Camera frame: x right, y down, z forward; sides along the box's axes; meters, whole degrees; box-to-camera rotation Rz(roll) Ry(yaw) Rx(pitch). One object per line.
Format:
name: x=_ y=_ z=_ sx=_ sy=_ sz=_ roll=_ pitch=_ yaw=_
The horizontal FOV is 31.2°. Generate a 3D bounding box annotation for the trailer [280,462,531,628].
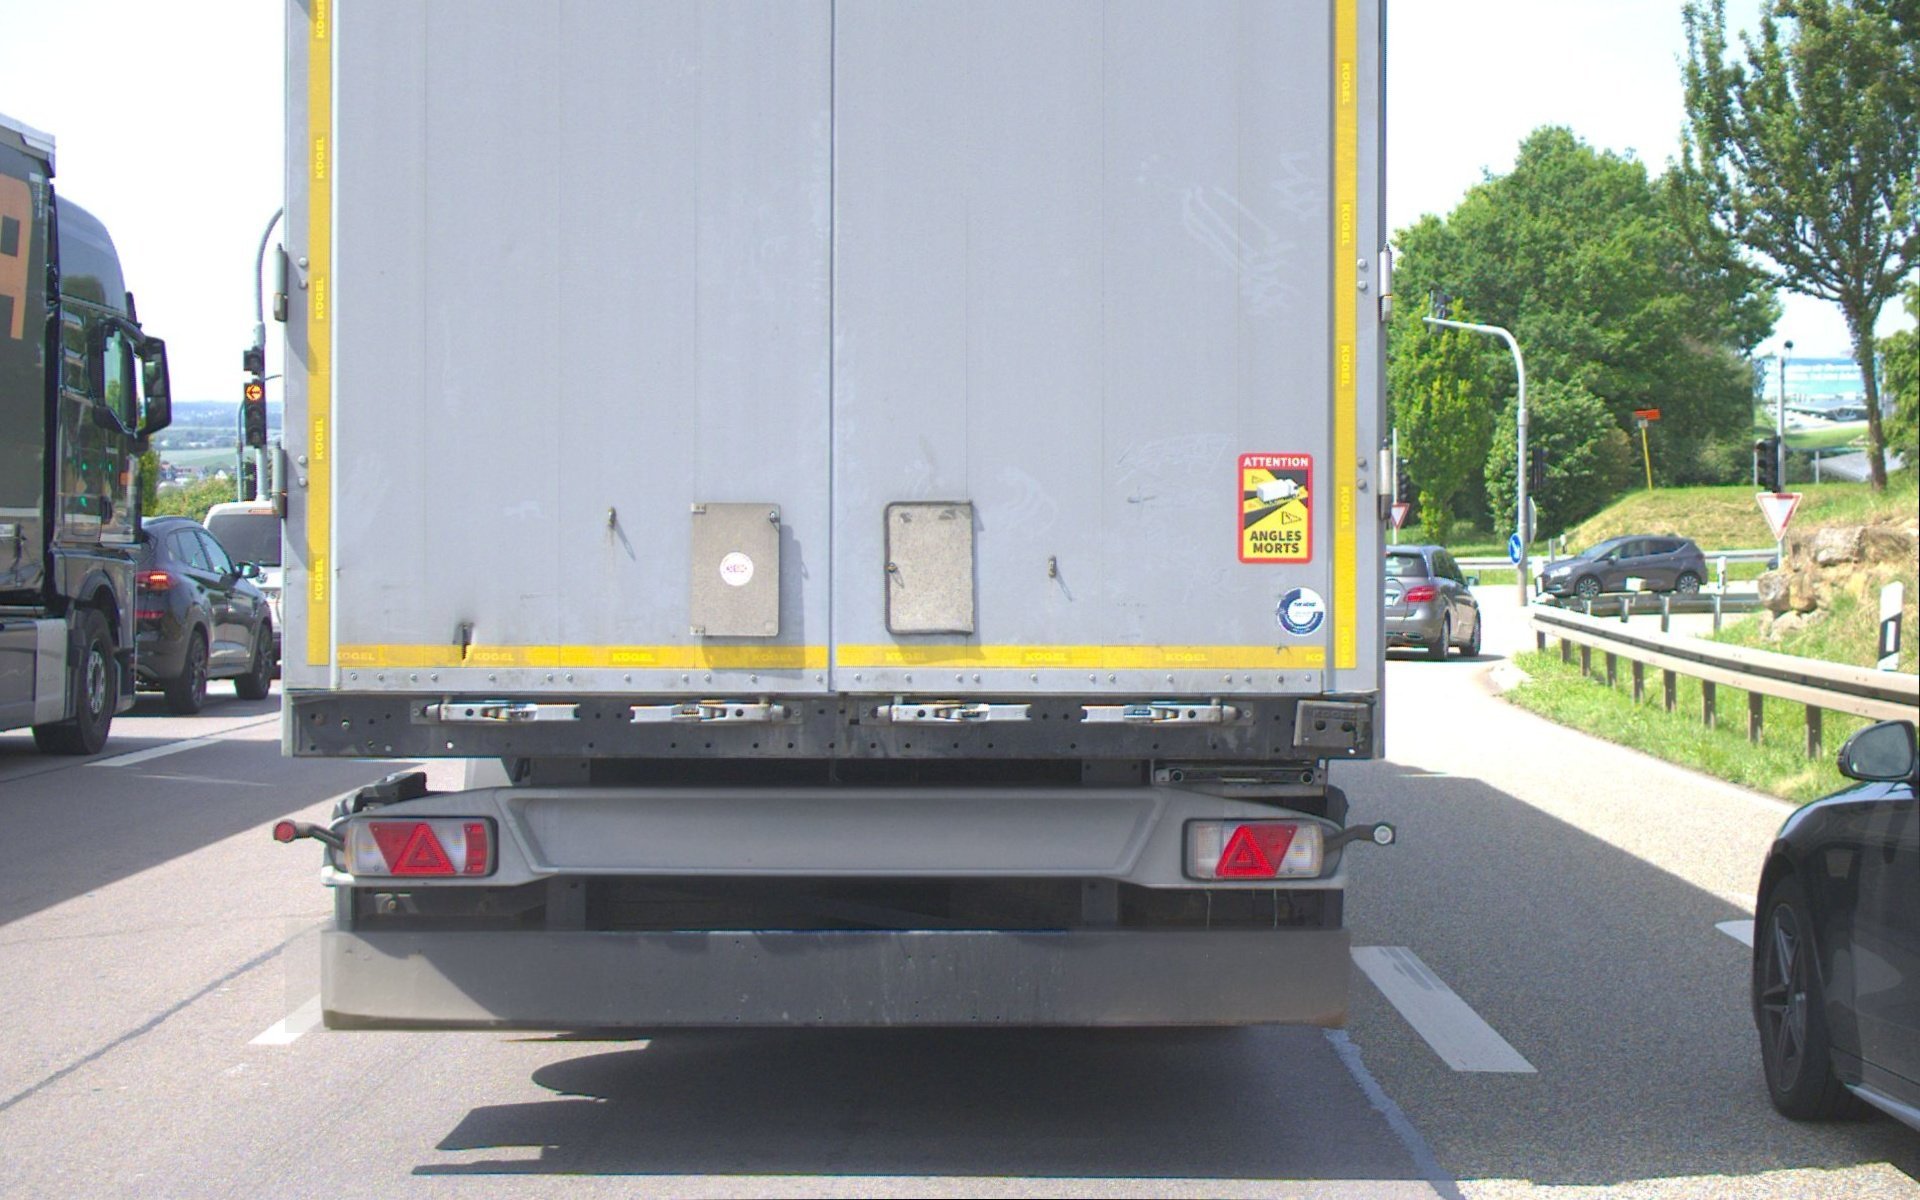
trailer: x=-13.803 y=-1.340 z=87.818 sx=2.639 sy=3.750 sz=19.798 roll=0 pitch=1 yaw=2

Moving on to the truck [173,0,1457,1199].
truck: x=-0.362 y=-0.682 z=13.272 sx=2.799 sy=3.916 sz=11.342 roll=1 pitch=1 yaw=-1

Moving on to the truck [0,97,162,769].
truck: x=-7.105 y=-1.022 z=21.500 sx=2.783 sy=3.999 sz=5.971 roll=1 pitch=1 yaw=0

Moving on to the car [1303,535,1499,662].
car: x=6.083 y=-0.030 z=47.049 sx=1.798 sy=1.634 sz=3.996 roll=1 pitch=1 yaw=20

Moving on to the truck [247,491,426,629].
truck: x=-14.146 y=-0.901 z=78.387 sx=2.799 sy=3.003 sz=5.989 roll=0 pitch=0 yaw=2

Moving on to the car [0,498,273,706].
car: x=-7.233 y=-0.032 z=29.806 sx=1.855 sy=1.652 sz=4.349 roll=1 pitch=1 yaw=-3

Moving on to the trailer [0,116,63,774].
trailer: x=-7.107 y=-0.840 z=14.864 sx=2.783 sy=3.900 sz=13.787 roll=1 pitch=1 yaw=0

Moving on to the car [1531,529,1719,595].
car: x=15.539 y=-0.895 z=80.451 sx=3.986 sy=1.505 sz=1.717 roll=0 pitch=1 yaw=-7

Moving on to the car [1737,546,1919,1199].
car: x=2.987 y=0.661 z=7.110 sx=1.746 sy=1.527 sz=4.299 roll=1 pitch=1 yaw=0

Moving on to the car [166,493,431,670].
car: x=-7.162 y=-0.239 z=37.675 sx=1.768 sy=1.792 sz=4.752 roll=1 pitch=1 yaw=3

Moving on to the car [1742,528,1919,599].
car: x=19.295 y=-0.792 z=74.282 sx=4.357 sy=1.505 sz=1.717 roll=0 pitch=1 yaw=-9
